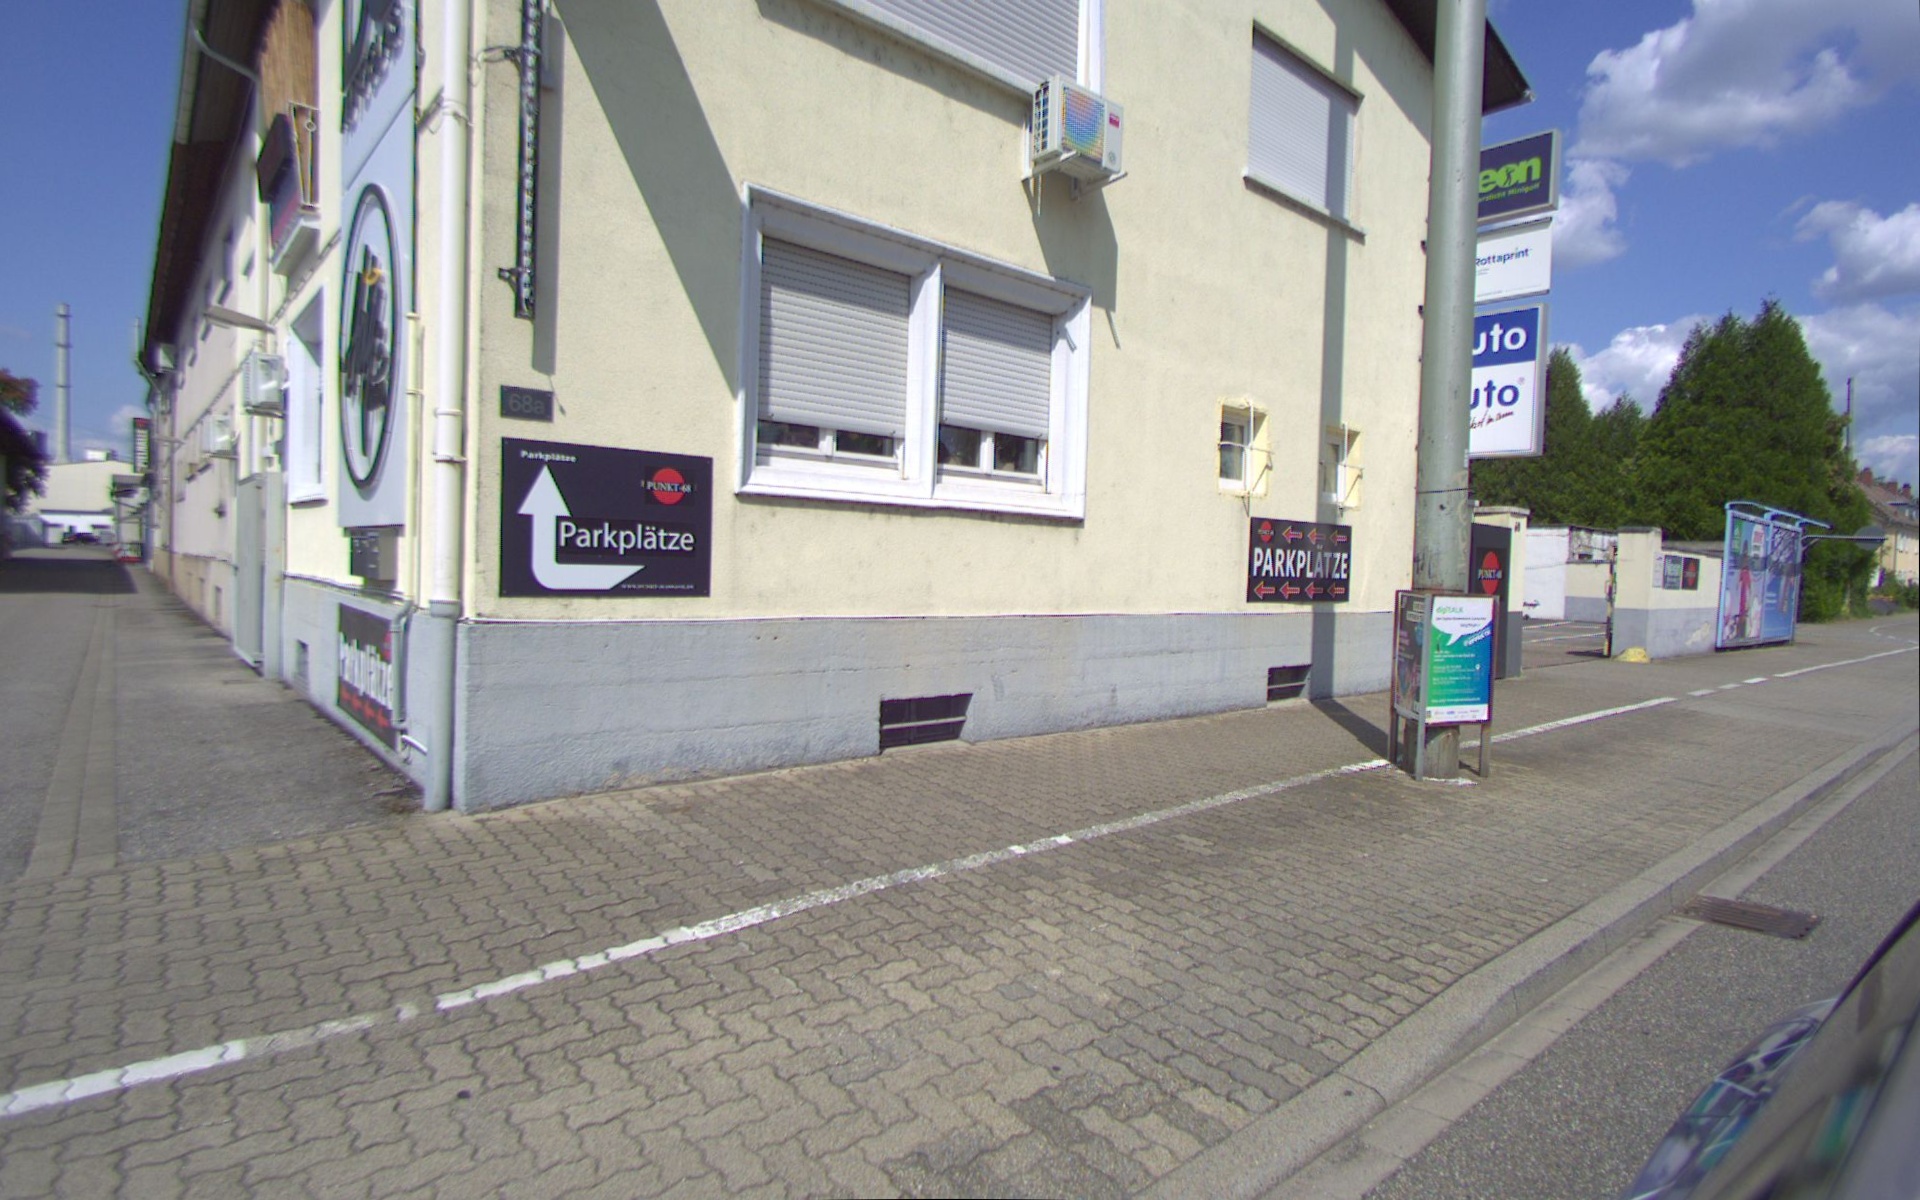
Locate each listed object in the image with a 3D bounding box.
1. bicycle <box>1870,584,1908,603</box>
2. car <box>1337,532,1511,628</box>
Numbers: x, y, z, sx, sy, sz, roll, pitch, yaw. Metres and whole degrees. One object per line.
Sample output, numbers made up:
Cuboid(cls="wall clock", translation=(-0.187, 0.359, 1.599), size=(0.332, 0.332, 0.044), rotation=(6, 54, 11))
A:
Cuboid(cls="bicycle", translation=(57.935, -0.386, 63.108), size=(0.285, 1.116, 1.693), rotation=(0, 2, -40))
Cuboid(cls="car", translation=(13.197, -0.679, 28.577), size=(6.064, 2.473, 1.999), rotation=(-3, 4, -39))
